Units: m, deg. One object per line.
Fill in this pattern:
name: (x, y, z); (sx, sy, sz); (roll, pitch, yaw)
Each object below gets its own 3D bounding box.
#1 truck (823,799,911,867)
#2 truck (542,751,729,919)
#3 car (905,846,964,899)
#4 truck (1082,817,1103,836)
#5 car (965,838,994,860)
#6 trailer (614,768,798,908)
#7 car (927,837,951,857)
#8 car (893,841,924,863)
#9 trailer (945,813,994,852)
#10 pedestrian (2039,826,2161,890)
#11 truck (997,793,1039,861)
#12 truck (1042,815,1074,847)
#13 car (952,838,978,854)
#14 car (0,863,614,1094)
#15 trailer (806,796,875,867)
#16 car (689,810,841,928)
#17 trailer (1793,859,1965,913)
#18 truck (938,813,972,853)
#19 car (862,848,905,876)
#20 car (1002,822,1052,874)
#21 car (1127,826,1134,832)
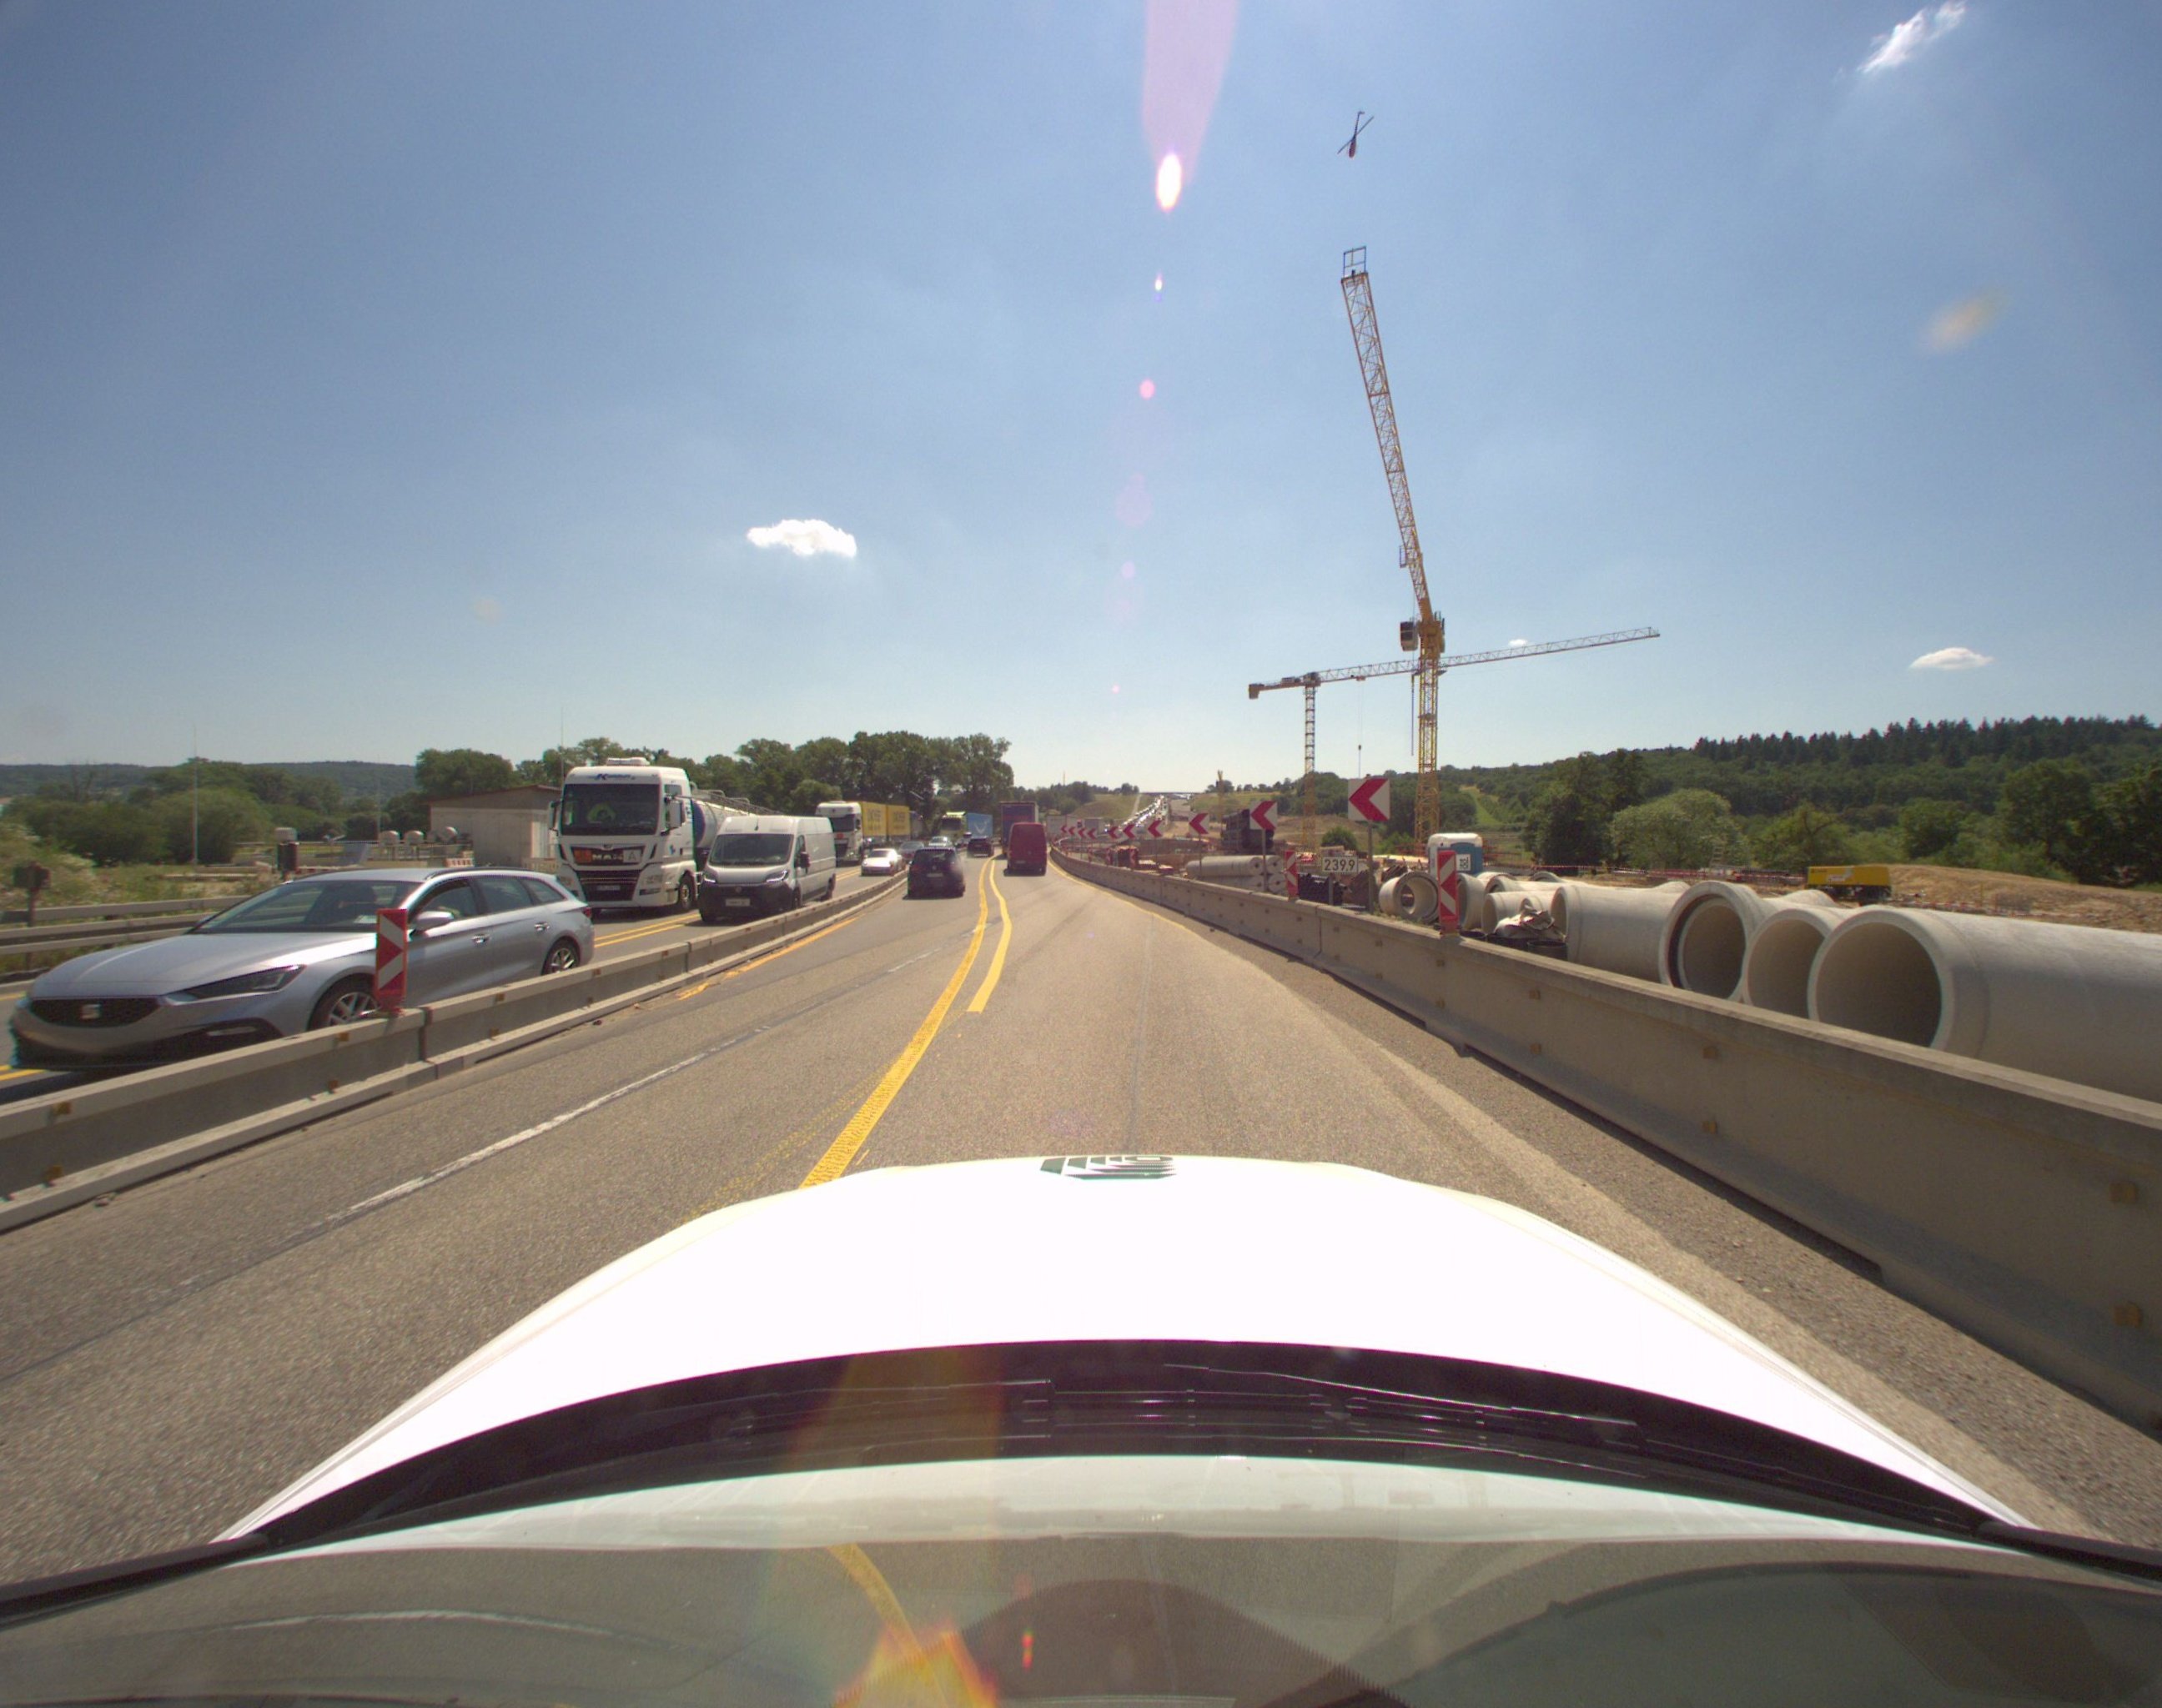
truck: (-15.407, -1.483, 60.184); (2.799, 4.342, 15.366); (0, 1, -1)
truck: (-11.299, -0.421, 21.214); (2.531, 3.821, 4.938); (1, 0, -7)
car: (-4.895, 0.567, 27.701); (1.732, 1.635, 4.378); (0, 1, -7)
truck: (2.187, -5.091, 153.528); (3.168, 2.977, 8.911); (0, -2, 5)
car: (-7.829, -0.393, 63.056); (1.829, 1.635, 4.386); (0, 0, -2)
trailer: (-12.016, -0.429, 27.366); (2.523, 3.789, 10.220); (1, 0, -7)
car: (-11.841, -0.619, 68.250); (1.634, 1.485, 3.994); (0, 2, -5)
car: (-11.456, -0.153, 54.305); (1.675, 1.362, 4.492); (0, 1, -7)
trailer: (-13.104, -2.453, 97.299); (2.634, 4.292, 13.331); (1, 1, 6)
pedestrian: (34.904, 0.166, 26.866); (1.984, 2.014, 4.005); (0, -2, 5)
truck: (-4.775, -2.058, 62.698); (2.937, 4.945, 6.737); (0, 1, -2)
truck: (-2.842, -2.953, 104.090); (3.166, 3.989, 6.753); (0, 1, 6)
car: (-11.349, -0.793, 80.094); (1.814, 1.435, 4.585); (0, 2, 1)
car: (-6.444, 0.824, 7.548); (1.841, 1.464, 4.517); (0, -1, -4)
trailer: (-15.191, -1.392, 51.766); (2.857, 4.229, 5.217); (0, 1, -1)
car: (-7.673, 0.351, 20.579); (2.069, 2.503, 6.467); (0, -1, -7)
trailer: (24.094, 0.897, 24.795); (1.617, 1.486, 3.829); (1, 0, 3)
truck: (-13.946, -2.352, 90.462); (2.613, 4.270, 4.739); (1, 1, 5)
car: (-10.023, 0.384, 41.598); (1.675, 1.264, 4.325); (0, 1, -7)
car: (-2.990, -0.320, 43.698); (2.150, 2.610, 5.420); (0, 1, -10)
car: (13.158, -6.688, 216.001); (1.610, 1.699, 3.896); (0, 2, 5)
